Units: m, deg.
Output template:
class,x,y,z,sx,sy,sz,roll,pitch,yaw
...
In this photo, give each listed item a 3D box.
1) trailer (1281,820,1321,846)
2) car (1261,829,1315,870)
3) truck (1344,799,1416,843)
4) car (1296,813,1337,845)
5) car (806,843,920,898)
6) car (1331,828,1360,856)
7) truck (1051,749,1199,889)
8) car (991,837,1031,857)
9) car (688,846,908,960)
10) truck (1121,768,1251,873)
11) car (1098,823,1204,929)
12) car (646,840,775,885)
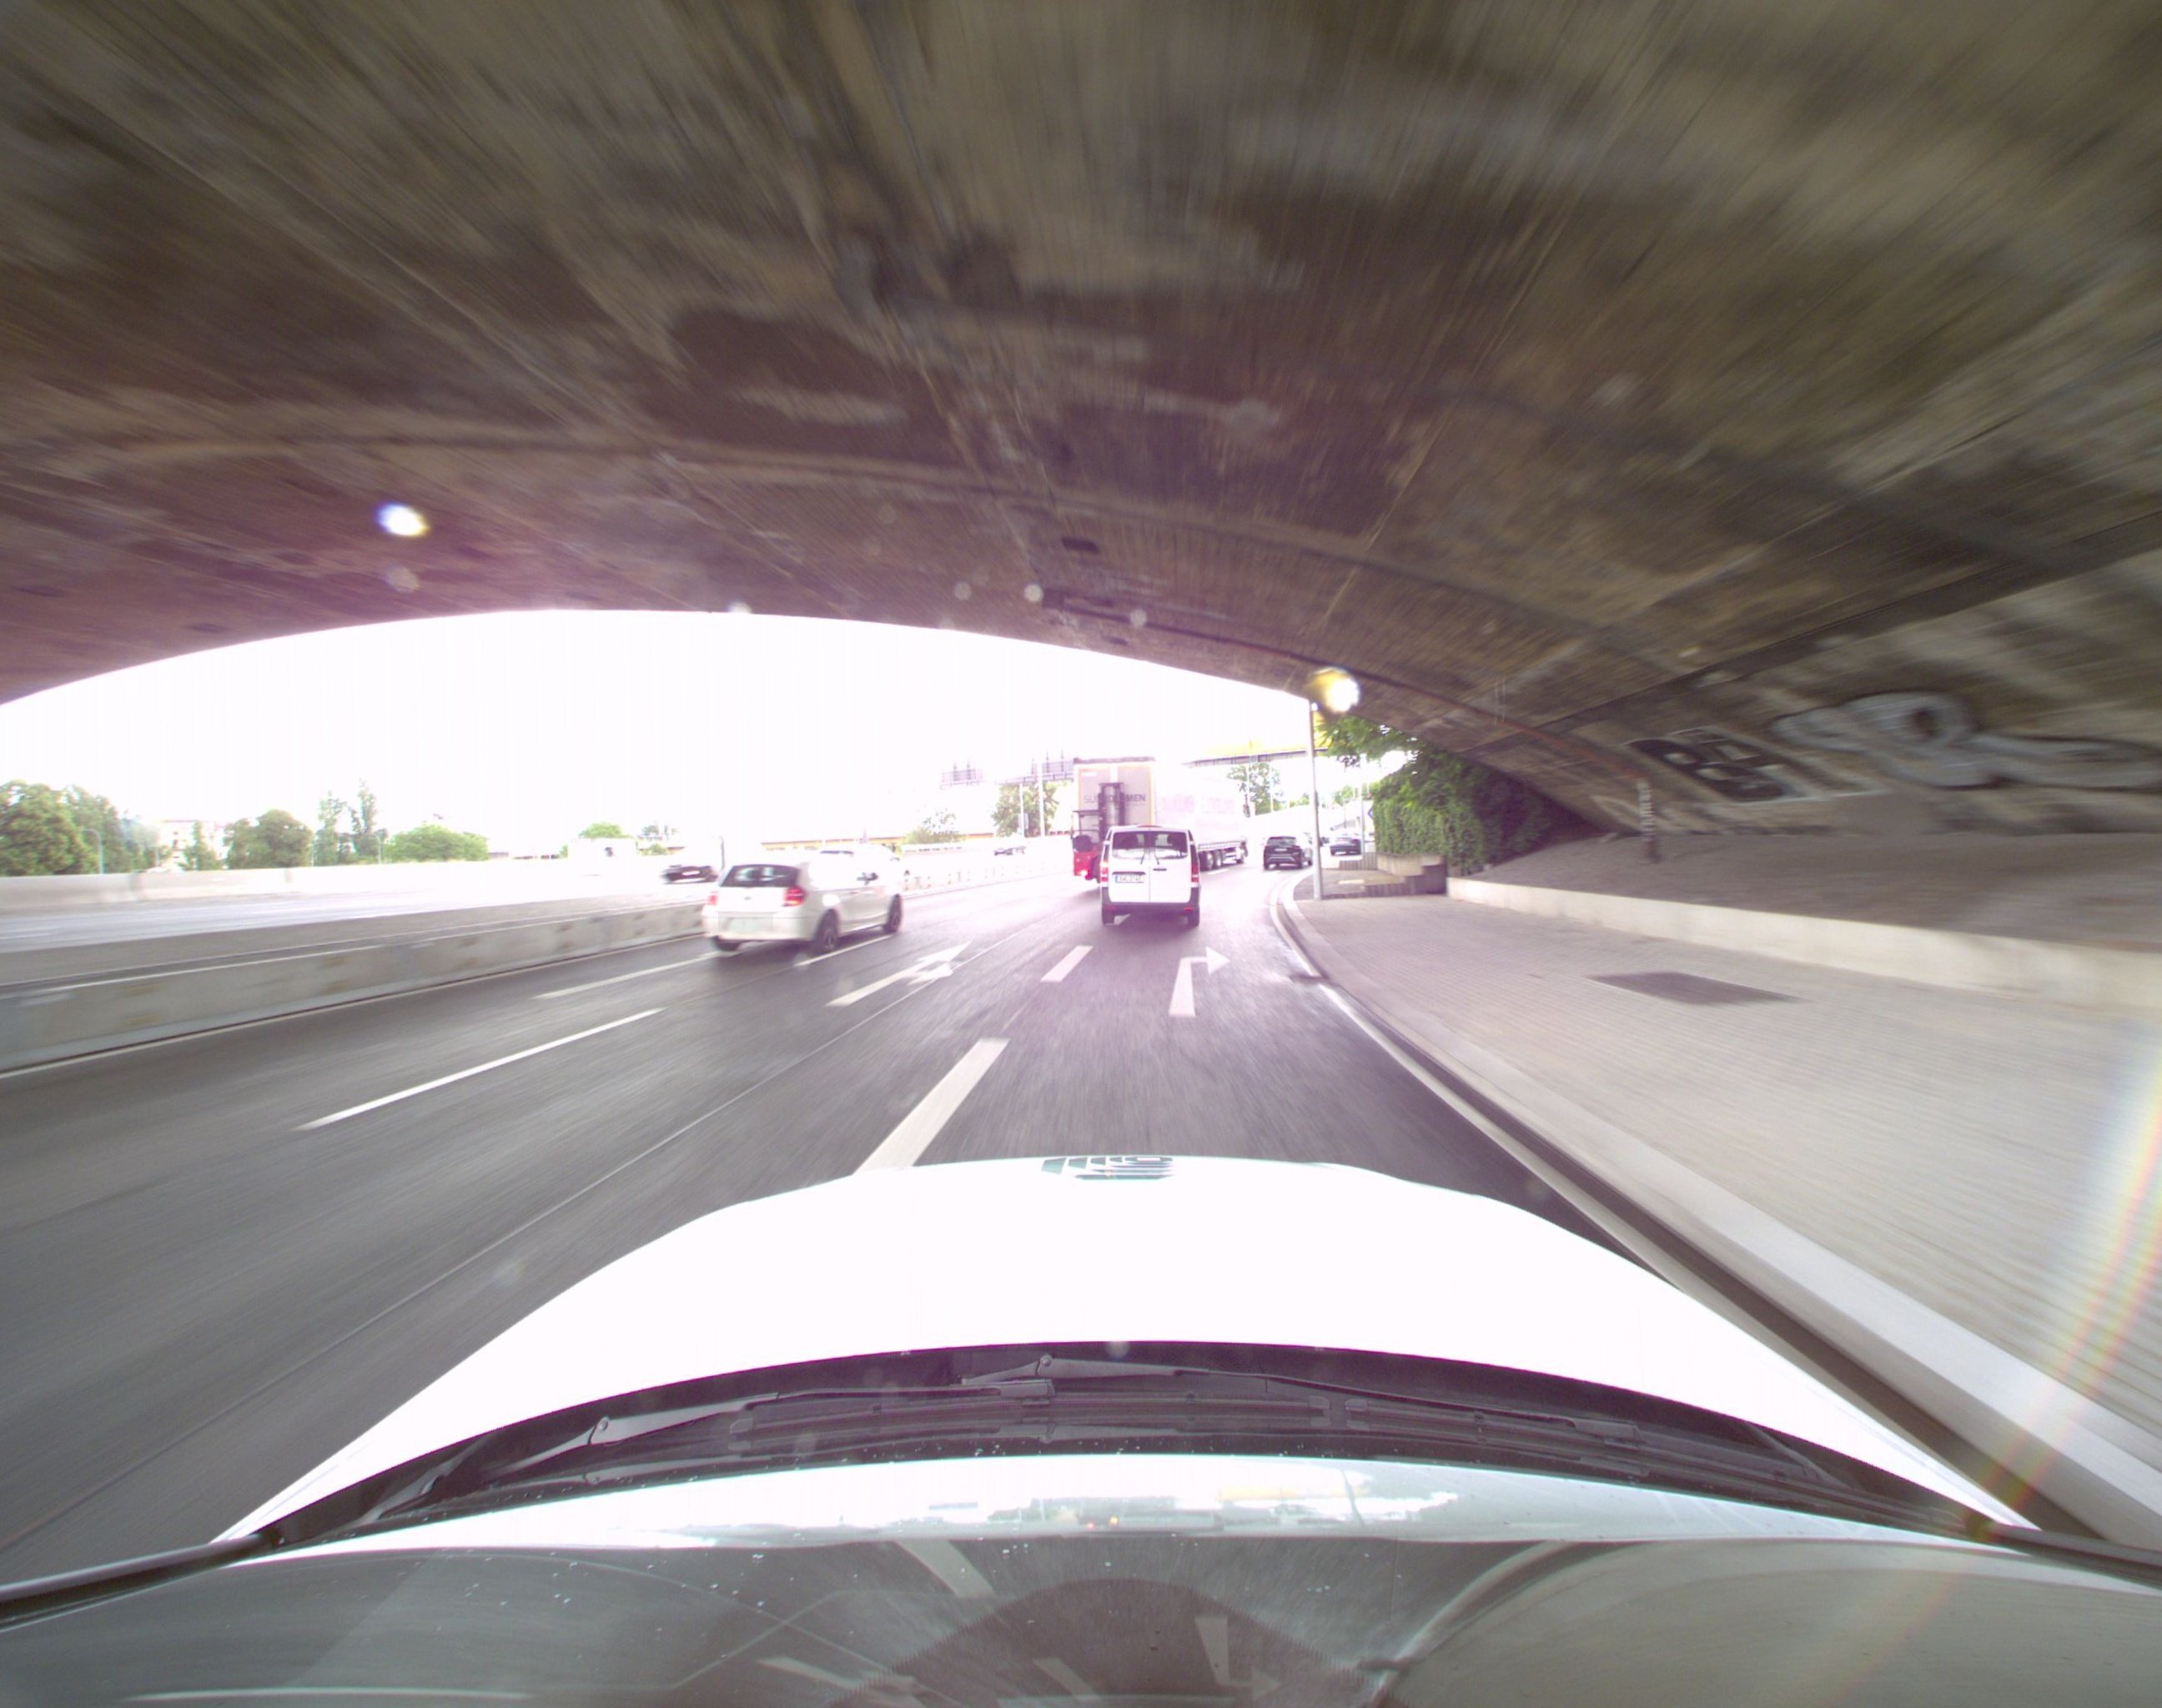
class,x,y,z,sx,sy,sz,roll,pitch,yaw
trailer,17.532,-1.689,64.868,1.974,1.957,4.105,0,2,31
car,9.387,-0.236,36.735,1.734,1.625,3.866,-3,1,22
truck,29.638,-3.180,79.993,3.285,3.809,16.700,0,2,32
car,19.941,-2.119,68.836,1.974,2.541,5.207,0,2,31
car,-6.311,0.436,24.074,1.565,1.484,4.011,-1,0,12
car,15.566,-0.688,48.026,1.489,1.469,3.413,2,-1,16
truck,1.953,-1.079,28.576,2.895,4.016,10.245,-1,1,16
car,-5.911,-0.607,69.112,1.721,1.581,4.171,-1,1,21
car,-4.247,0.639,12.952,1.629,1.432,3.992,0,2,8
truck,5.275,-1.419,37.953,2.961,4.176,11.304,-1,1,23
car,1.461,0.321,16.900,1.867,1.890,4.761,0,2,5
car,-13.692,0.253,30.463,1.842,1.486,4.562,-1,1,15
